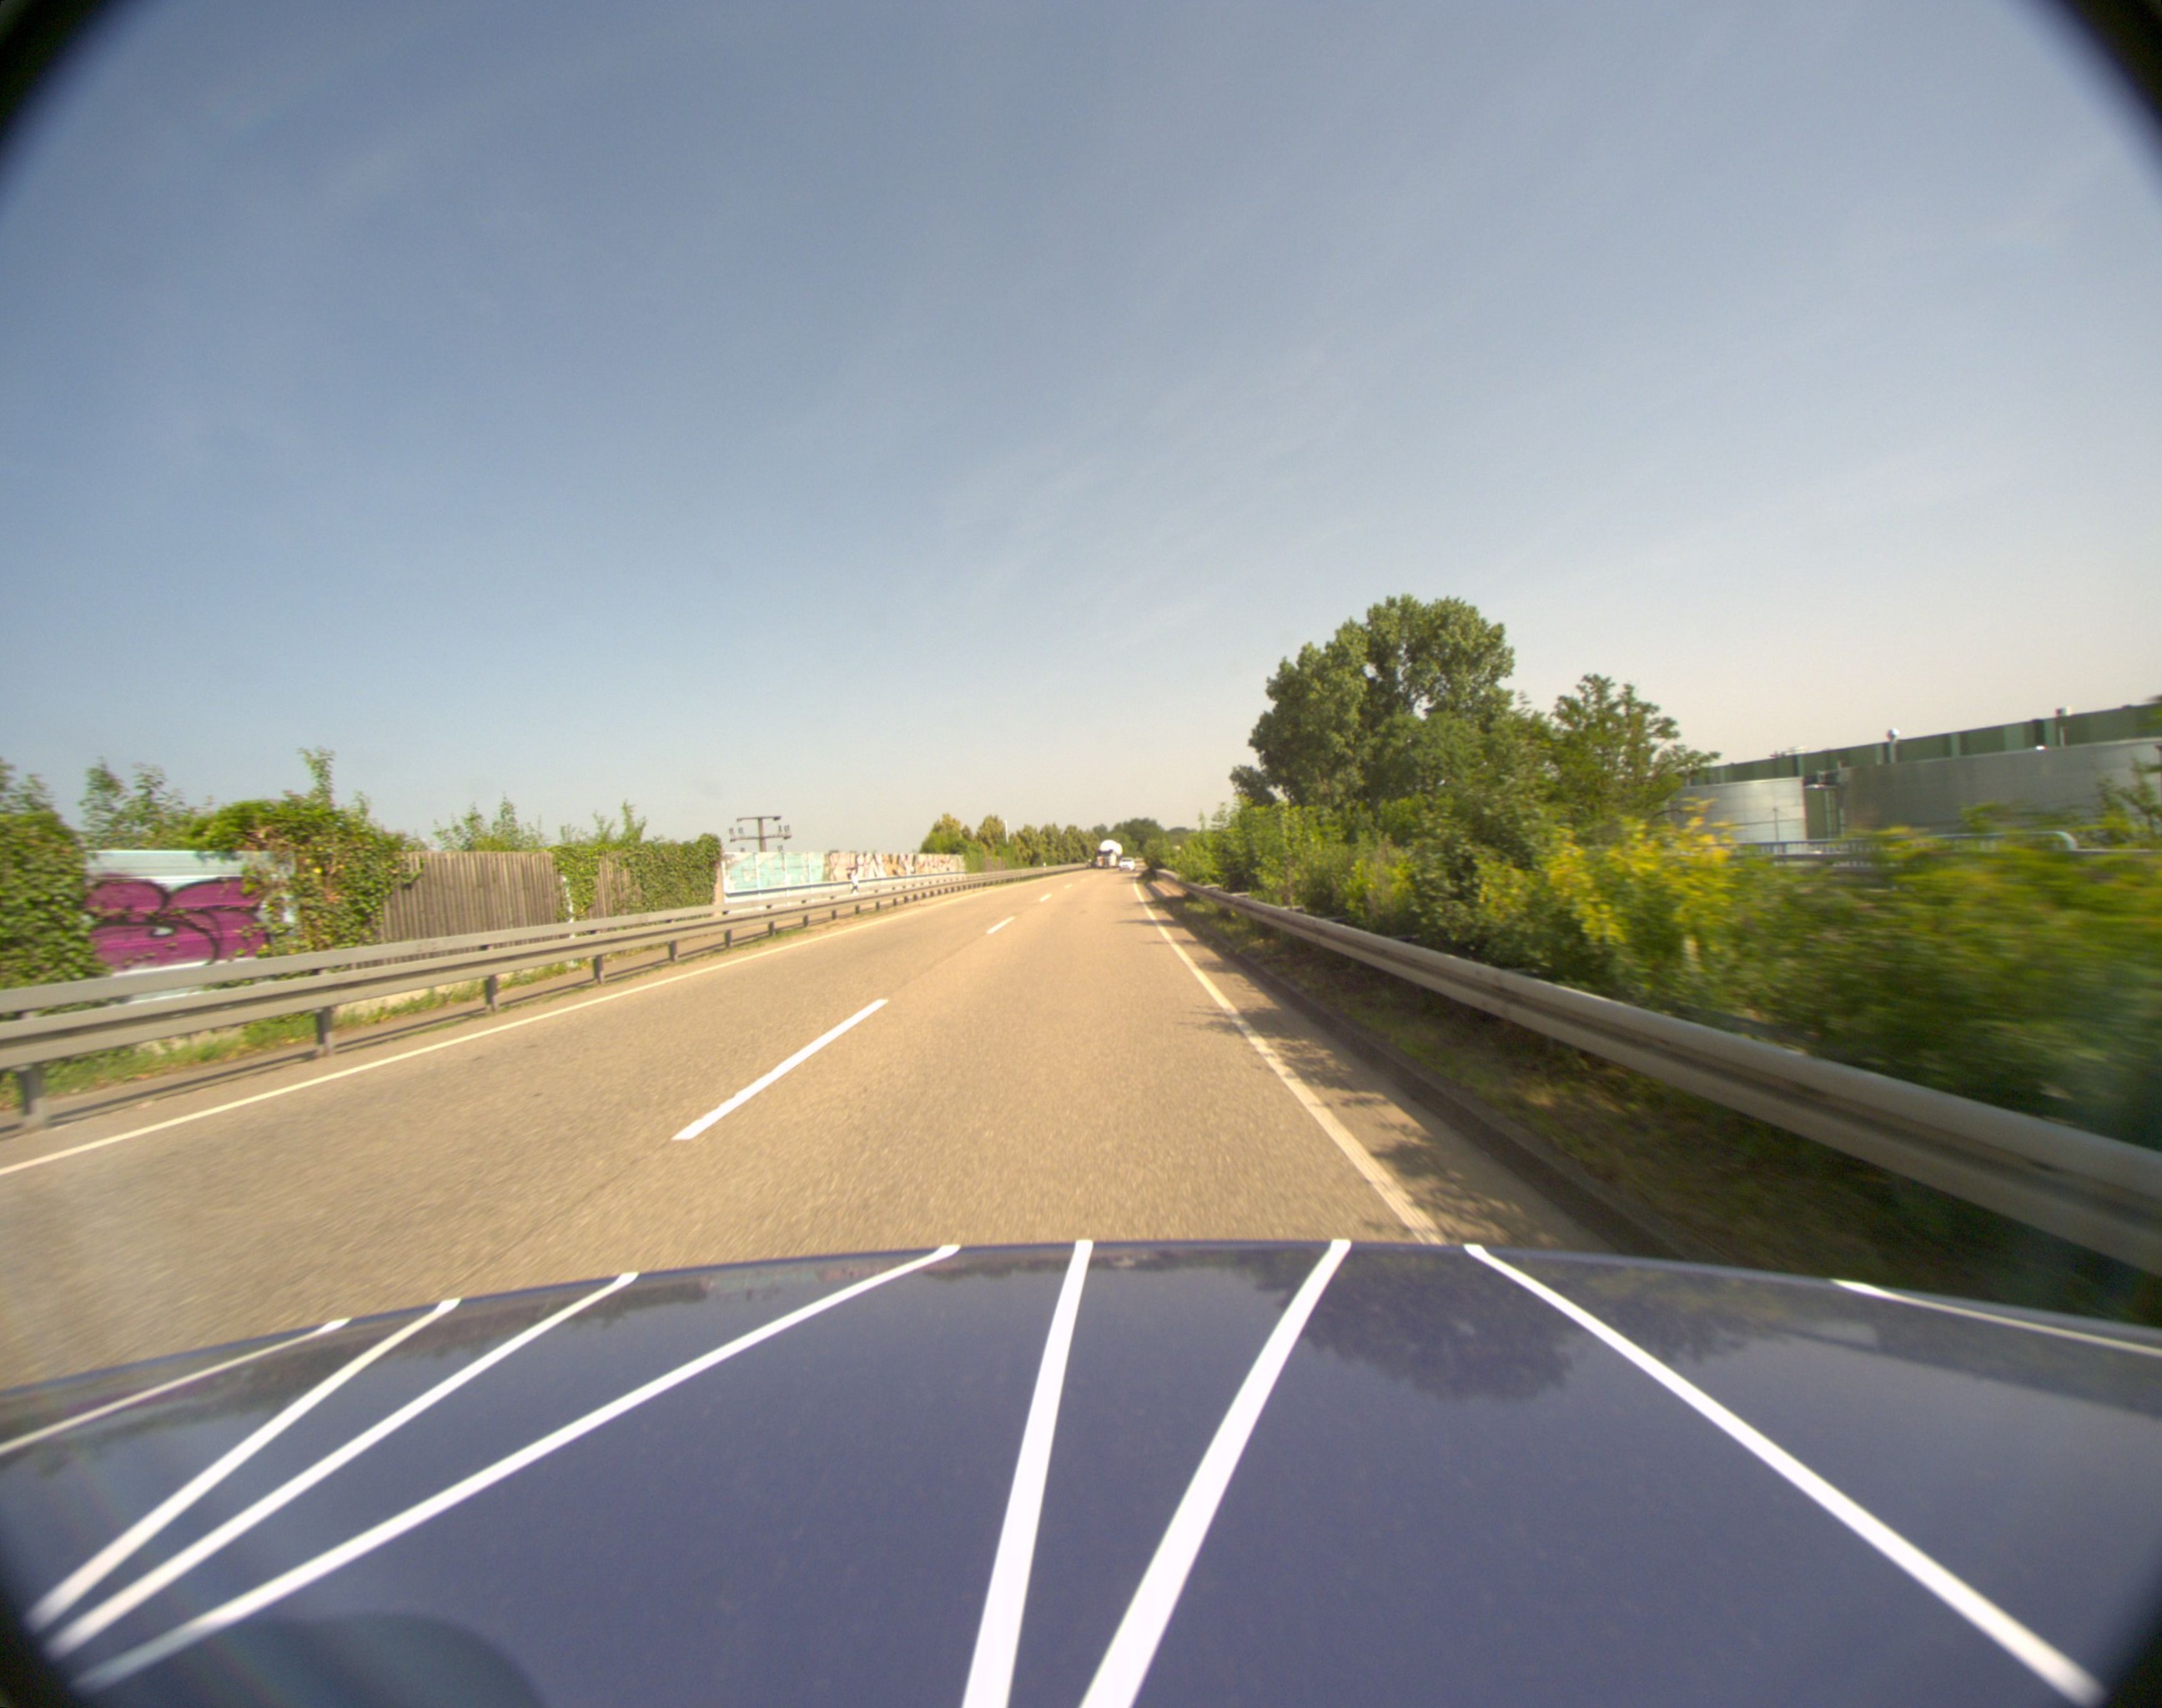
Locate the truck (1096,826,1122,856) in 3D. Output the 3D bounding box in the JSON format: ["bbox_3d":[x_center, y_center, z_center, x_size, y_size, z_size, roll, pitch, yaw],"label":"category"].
[{"bbox_3d":[3.970,-1.803,105.820,2.777,3.939,5.630,-2,1,9],"label":"truck"}]

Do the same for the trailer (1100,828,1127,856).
[{"bbox_3d":[4.870,-1.762,111.417,2.762,3.968,8.191,-2,1,10],"label":"trailer"}]

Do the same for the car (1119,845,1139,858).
[{"bbox_3d":[5.533,-0.287,87.316,1.788,1.427,4.002,-3,1,9],"label":"car"}]
